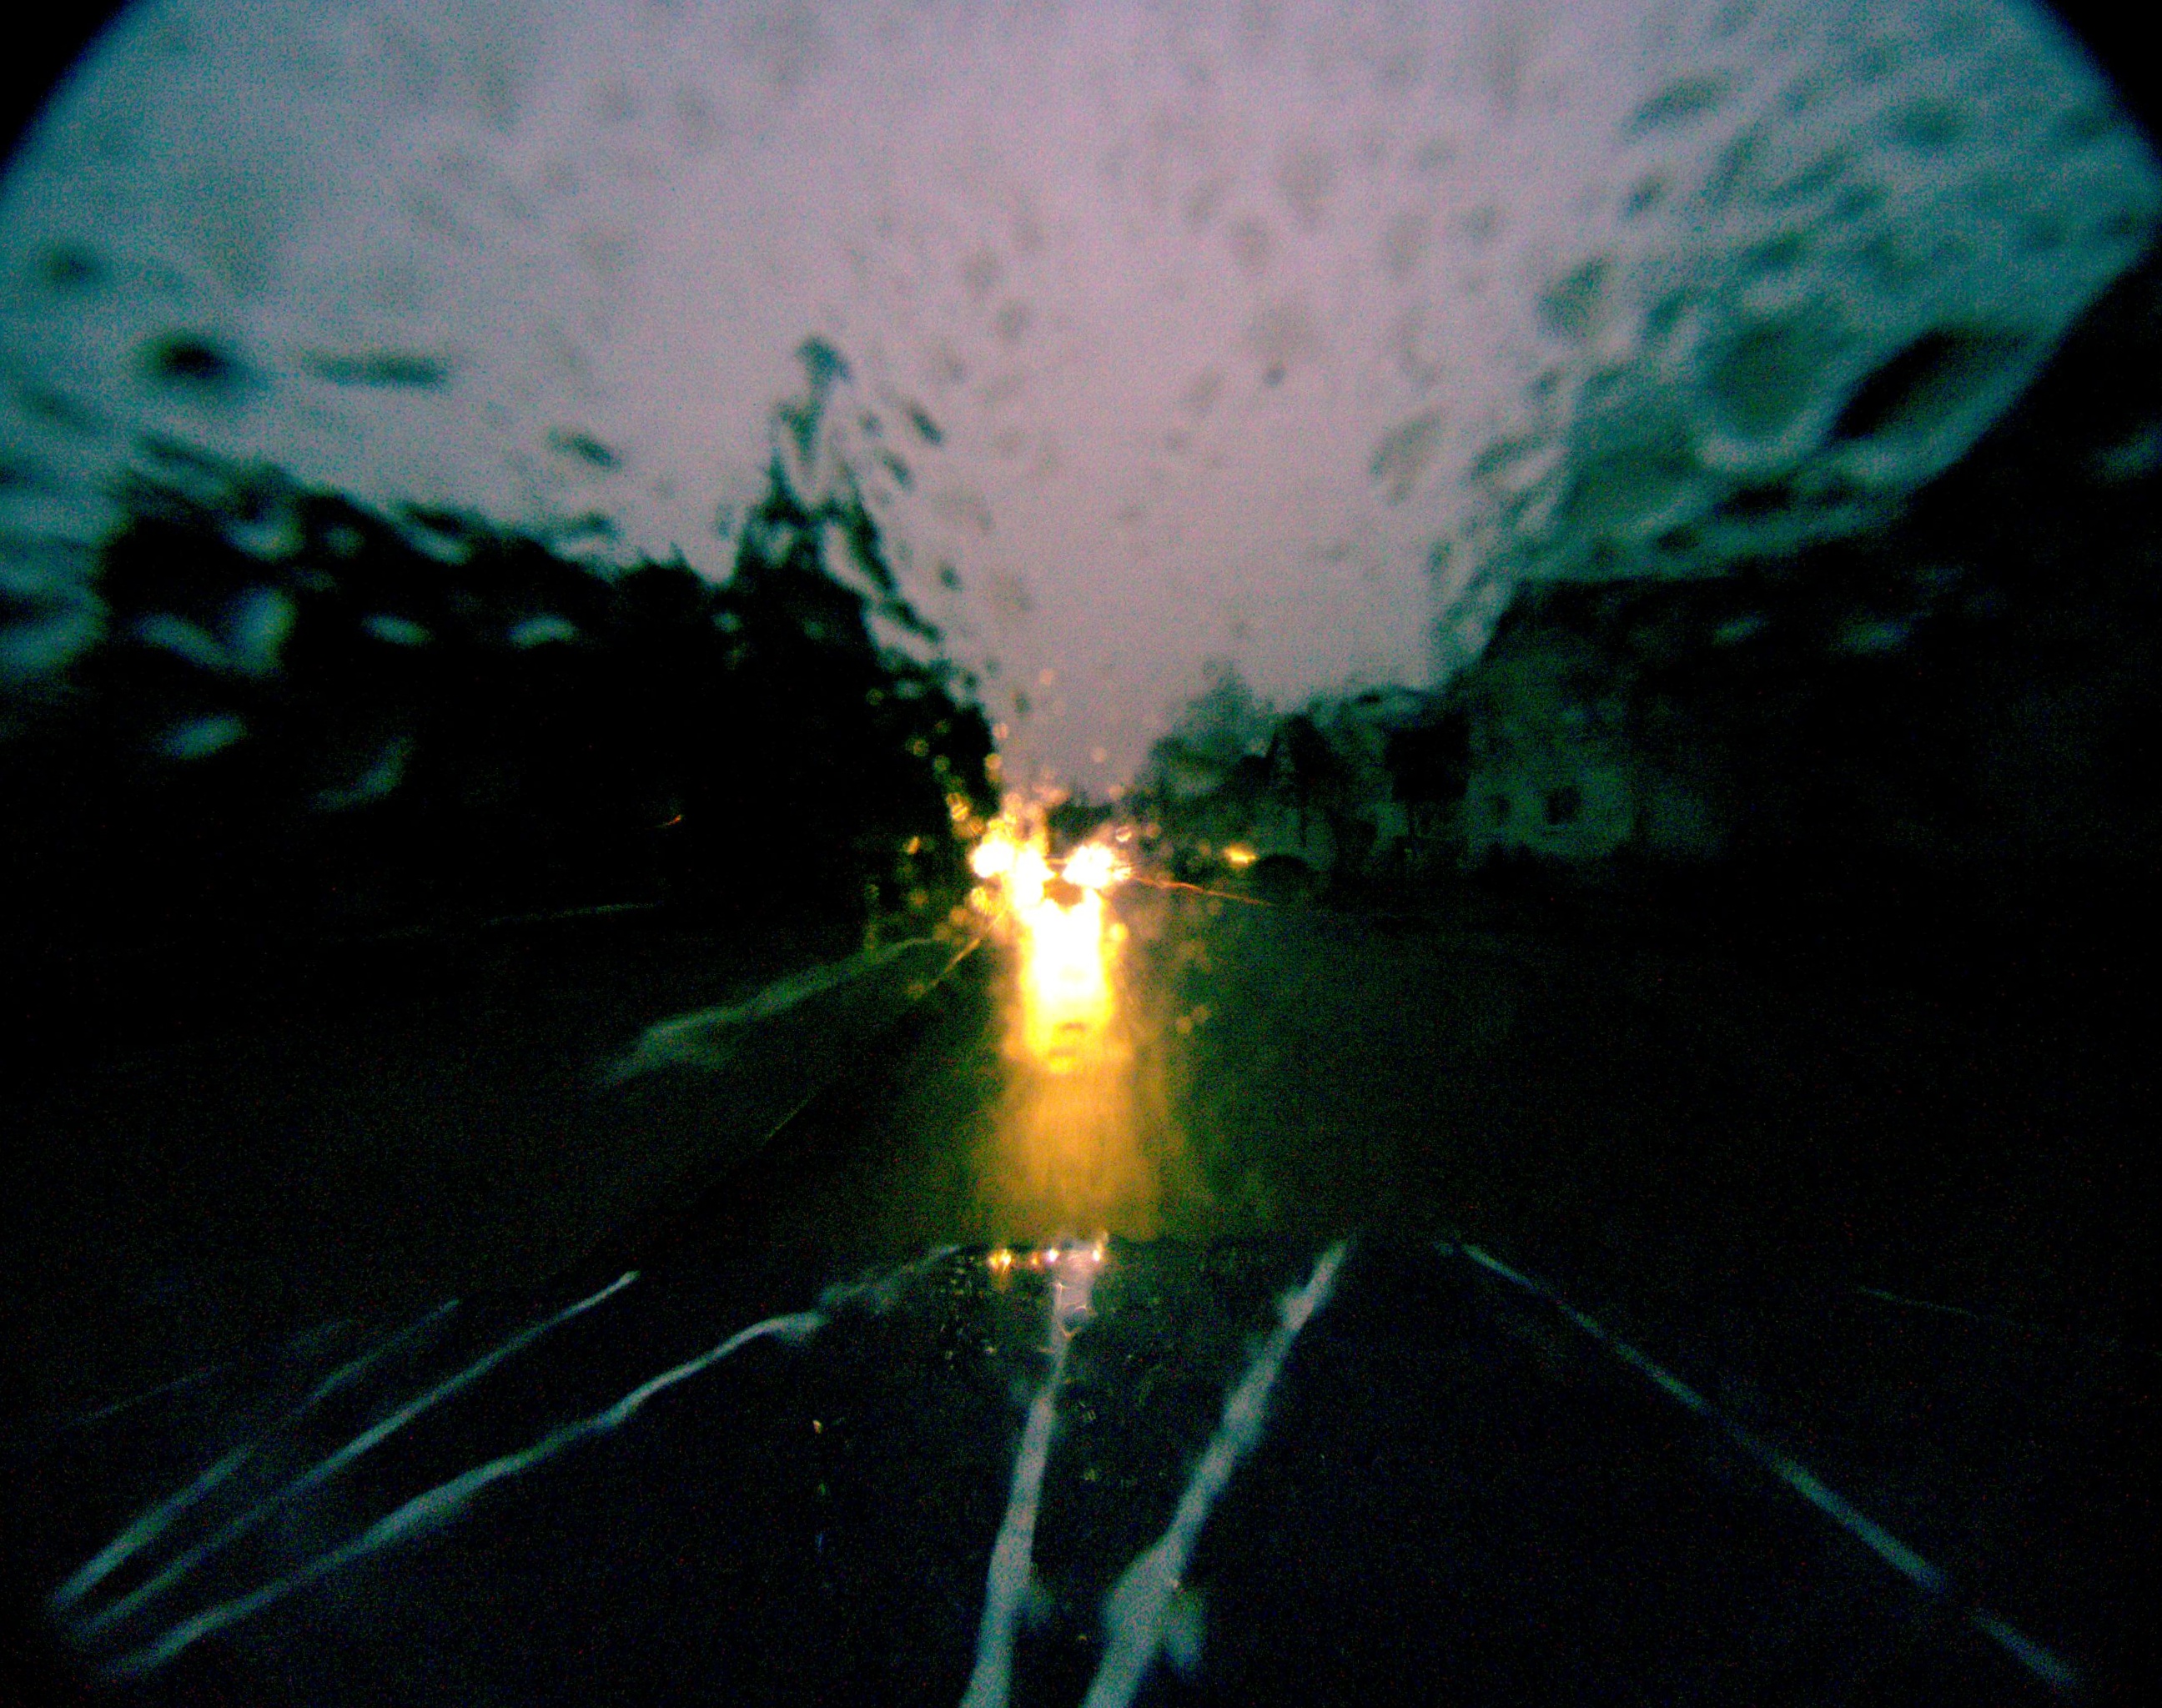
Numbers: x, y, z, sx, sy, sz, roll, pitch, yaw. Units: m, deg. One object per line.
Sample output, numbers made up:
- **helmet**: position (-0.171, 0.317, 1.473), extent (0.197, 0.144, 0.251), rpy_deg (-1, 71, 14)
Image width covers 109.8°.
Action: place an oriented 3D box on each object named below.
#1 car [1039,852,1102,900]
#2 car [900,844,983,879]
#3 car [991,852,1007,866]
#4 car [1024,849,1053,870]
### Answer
- **car**: position (-0.469, 0.742, 27.219), extent (1.999, 1.575, 3.998), rpy_deg (1, 0, -5)
- **car**: position (-7.618, 0.435, 41.829), extent (4.337, 1.722, 1.998), rpy_deg (2, 0, -9)
- **car**: position (-9.969, 0.626, 92.156), extent (1.777, 1.608, 3.869), rpy_deg (-1, 1, -8)
- **car**: position (-3.507, 0.453, 61.993), extent (2.000, 1.660, 3.997), rpy_deg (0, 0, -9)
